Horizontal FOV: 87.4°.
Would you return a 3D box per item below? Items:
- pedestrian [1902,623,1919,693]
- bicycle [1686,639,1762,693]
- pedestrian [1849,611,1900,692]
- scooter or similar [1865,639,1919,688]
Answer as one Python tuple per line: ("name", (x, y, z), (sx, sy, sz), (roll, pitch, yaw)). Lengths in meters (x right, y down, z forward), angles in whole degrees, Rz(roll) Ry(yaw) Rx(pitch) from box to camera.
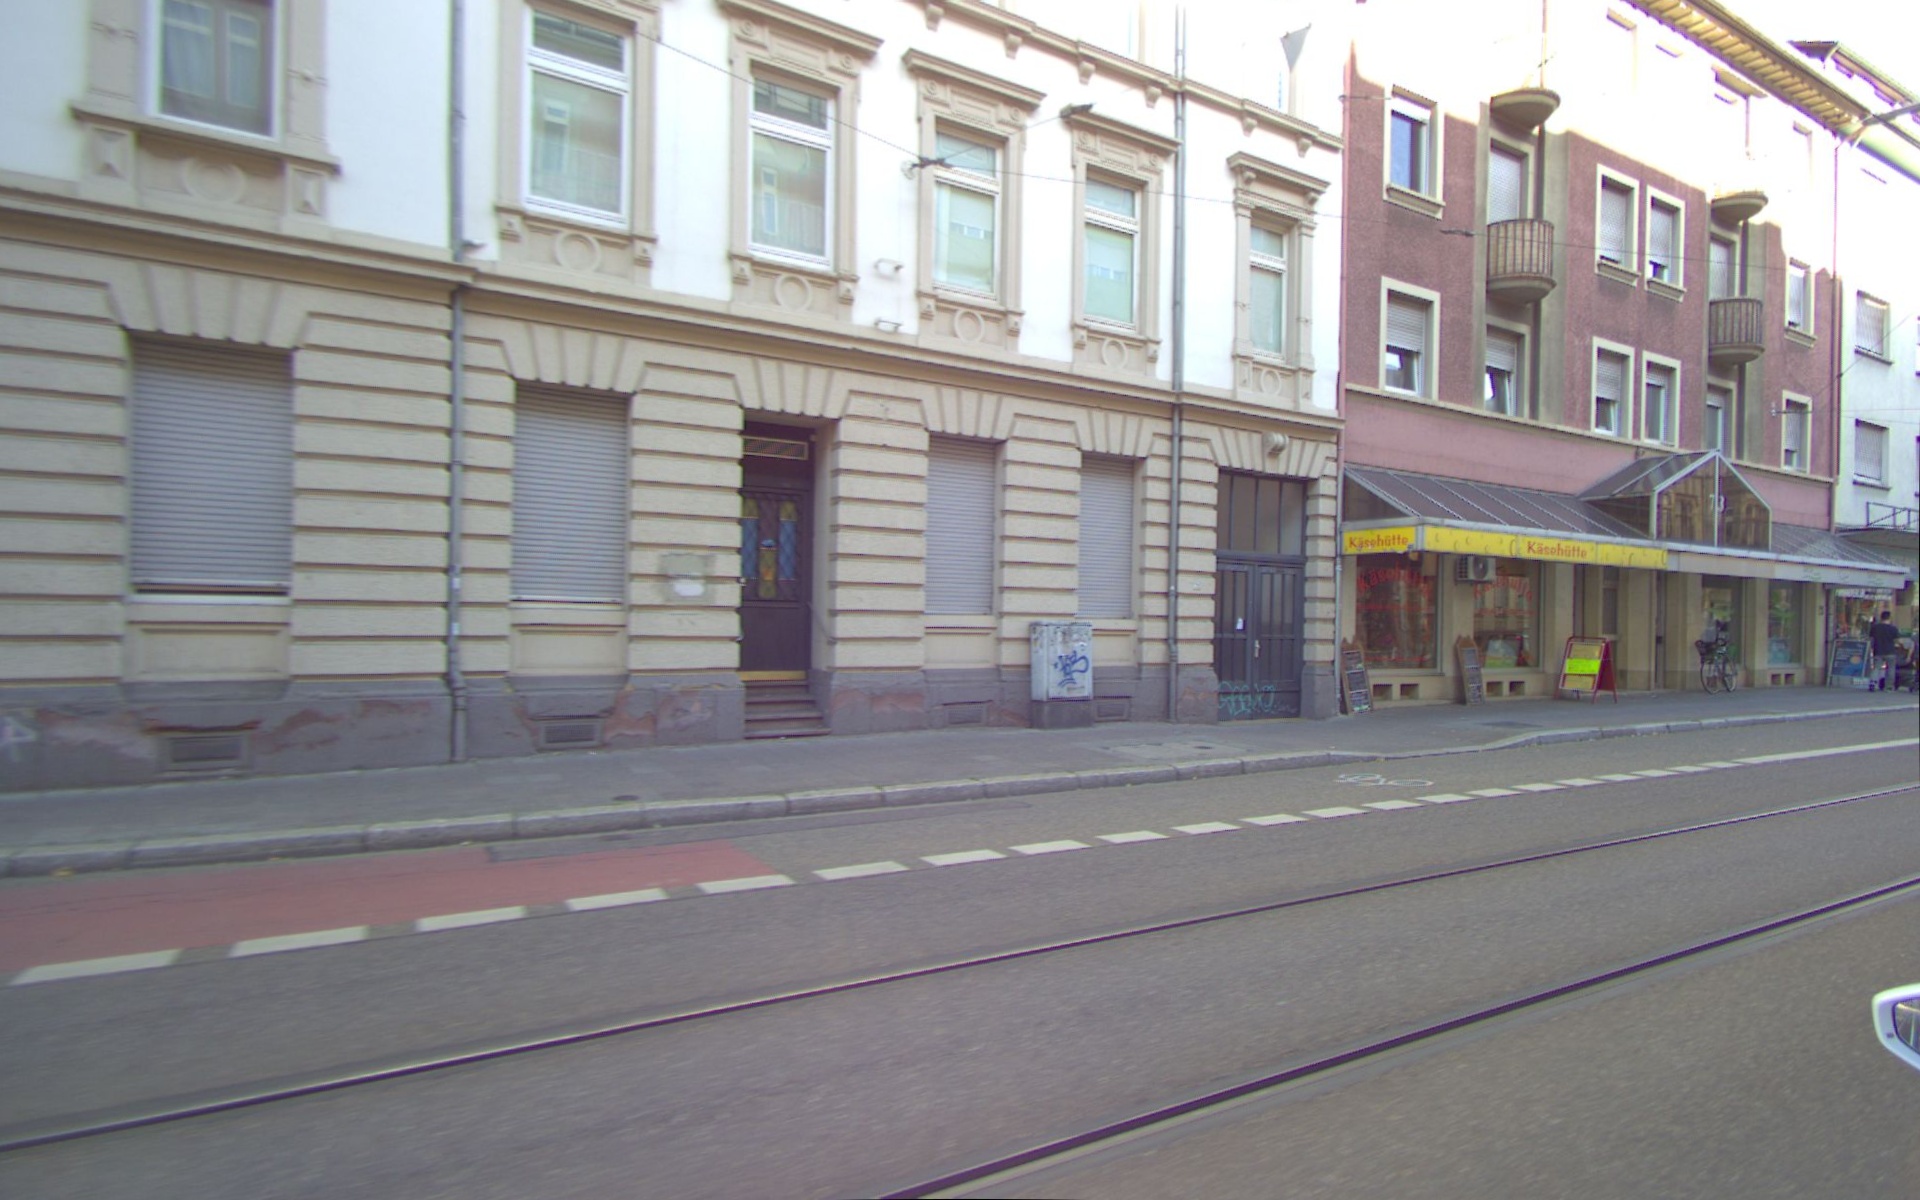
("pedestrian", (21.803, 1.315, 22.657), (0.616, 1.569, 0.633), (2, 0, -30))
("bicycle", (16.038, 1.374, 21.068), (2.303, 1.074, 0.422), (2, 0, -31))
("pedestrian", (20.949, 1.169, 23.003), (0.811, 1.813, 0.622), (2, 0, -30))
("scooter or similar", (21.805, 1.469, 23.480), (1.091, 1.075, 0.659), (1, 0, -30))
